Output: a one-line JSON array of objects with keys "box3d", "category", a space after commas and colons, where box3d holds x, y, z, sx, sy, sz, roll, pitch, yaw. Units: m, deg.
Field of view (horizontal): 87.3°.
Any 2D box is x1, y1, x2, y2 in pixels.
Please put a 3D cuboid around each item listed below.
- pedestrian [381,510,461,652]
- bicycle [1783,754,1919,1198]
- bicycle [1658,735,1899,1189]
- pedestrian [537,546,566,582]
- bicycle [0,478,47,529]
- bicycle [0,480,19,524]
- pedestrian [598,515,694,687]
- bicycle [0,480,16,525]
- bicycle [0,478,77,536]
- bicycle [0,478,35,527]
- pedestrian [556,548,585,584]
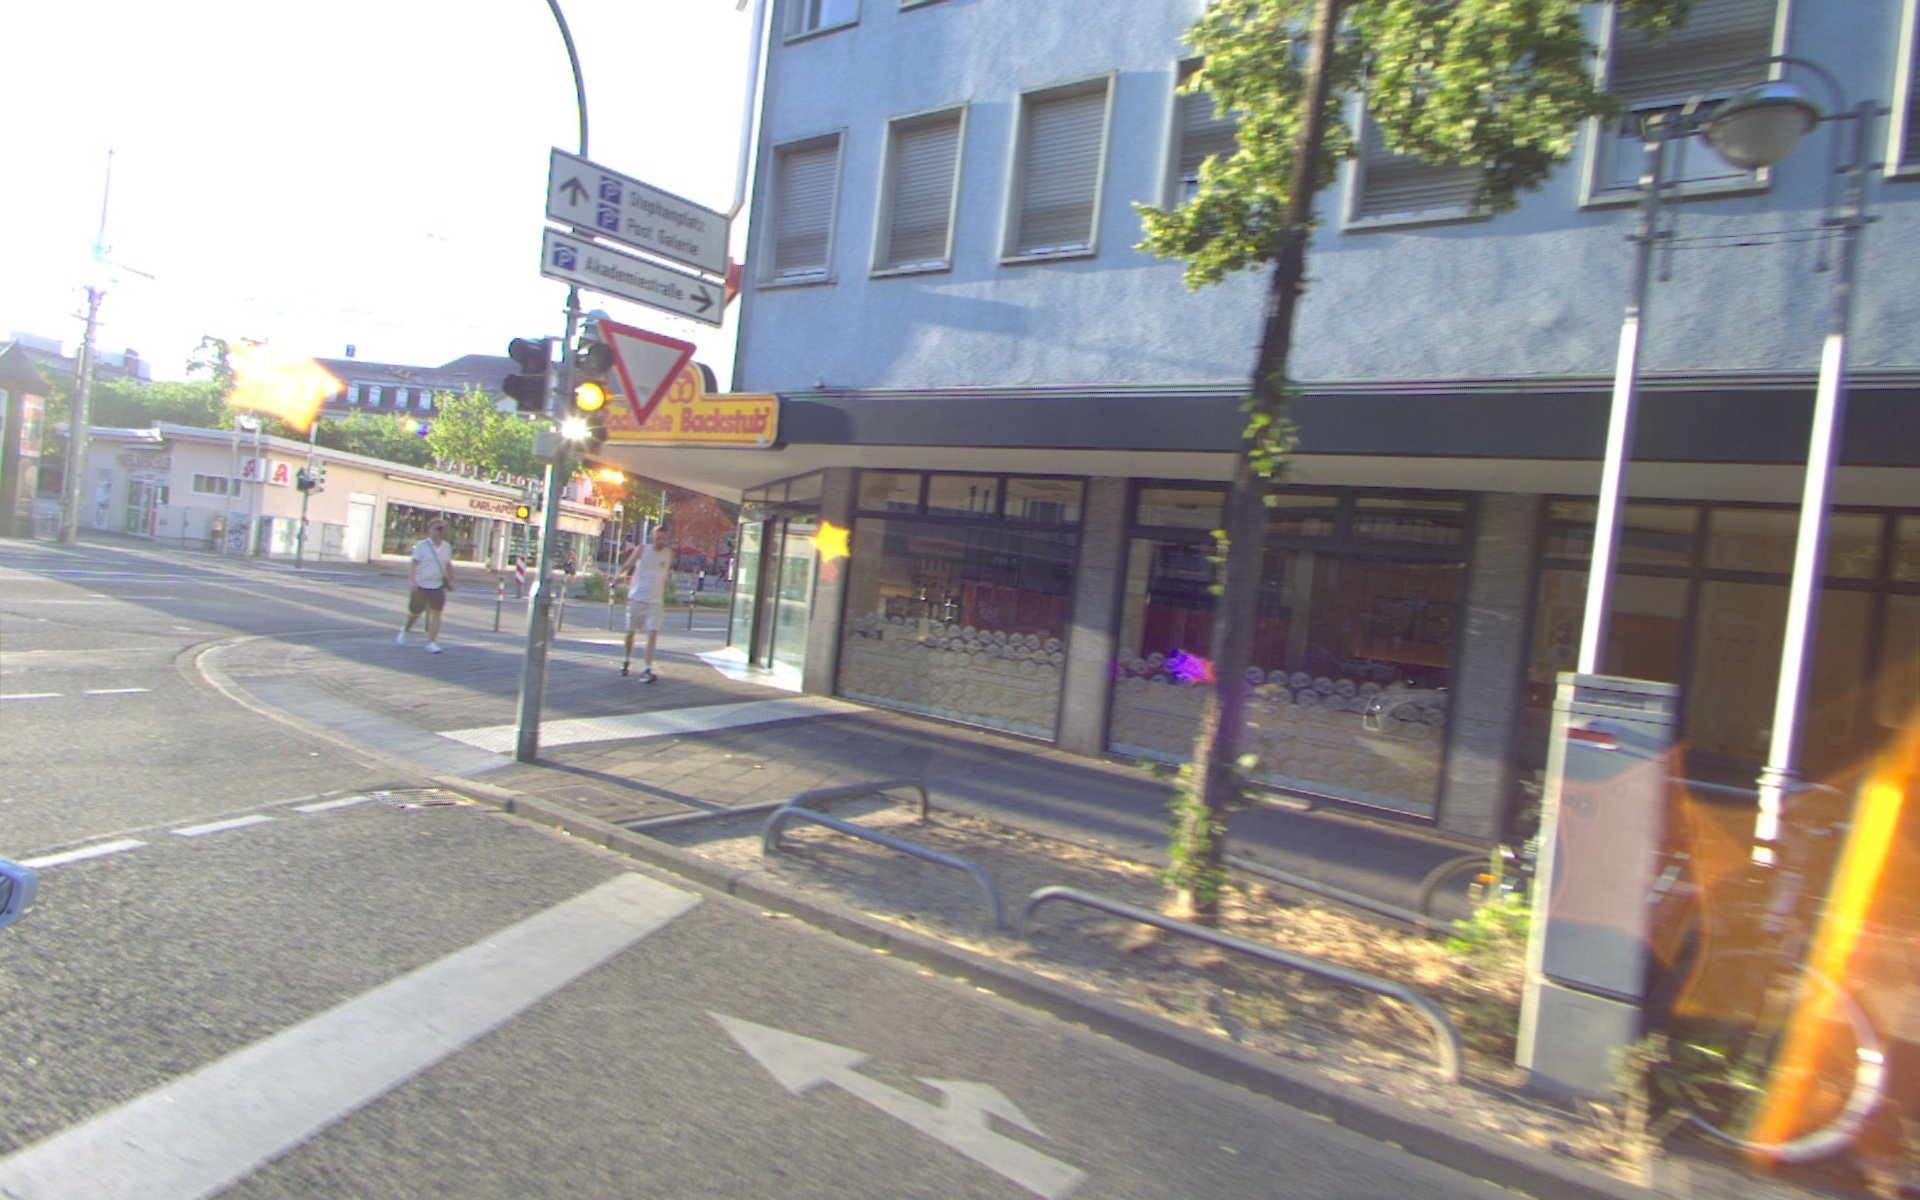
[{"box3d": [-7.091, -0.257, 13.246, 0.797, 1.748, 0.986, 4, 2, -28], "category": "pedestrian"}, {"box3d": [3.561, 1.276, 3.776, 0.462, 1.218, 1.913, 7, 0, 35], "category": "bicycle"}, {"box3d": [3.080, 1.207, 3.924, 0.462, 1.218, 1.913, 7, 0, 35], "category": "bicycle"}, {"box3d": [-19.892, -1.731, 49.011, 0.791, 1.633, 0.993, 5, 2, 9], "category": "pedestrian"}, {"box3d": [-31.807, -3.279, 33.473, 0.471, 1.542, 1.986, 7, 1, 35], "category": "bicycle"}, {"box3d": [-35.709, -3.688, 36.427, 0.670, 1.542, 2.223, 7, 1, 35], "category": "bicycle"}, {"box3d": [-3.751, 0.007, 11.961, 0.797, 1.911, 0.986, 4, 2, -28], "category": "pedestrian"}, {"box3d": [-34.865, -3.575, 35.401, 0.670, 1.542, 2.223, 7, 1, 35], "category": "bicycle"}, {"box3d": [-29.066, -2.907, 31.502, 0.471, 1.542, 1.986, 7, 1, 34], "category": "bicycle"}, {"box3d": [-32.769, -3.374, 33.872, 0.670, 1.542, 2.223, 7, 1, 35], "category": "bicycle"}, {"box3d": [-18.972, -1.645, 49.026, 0.791, 1.633, 0.993, 5, 2, 9], "category": "pedestrian"}]
